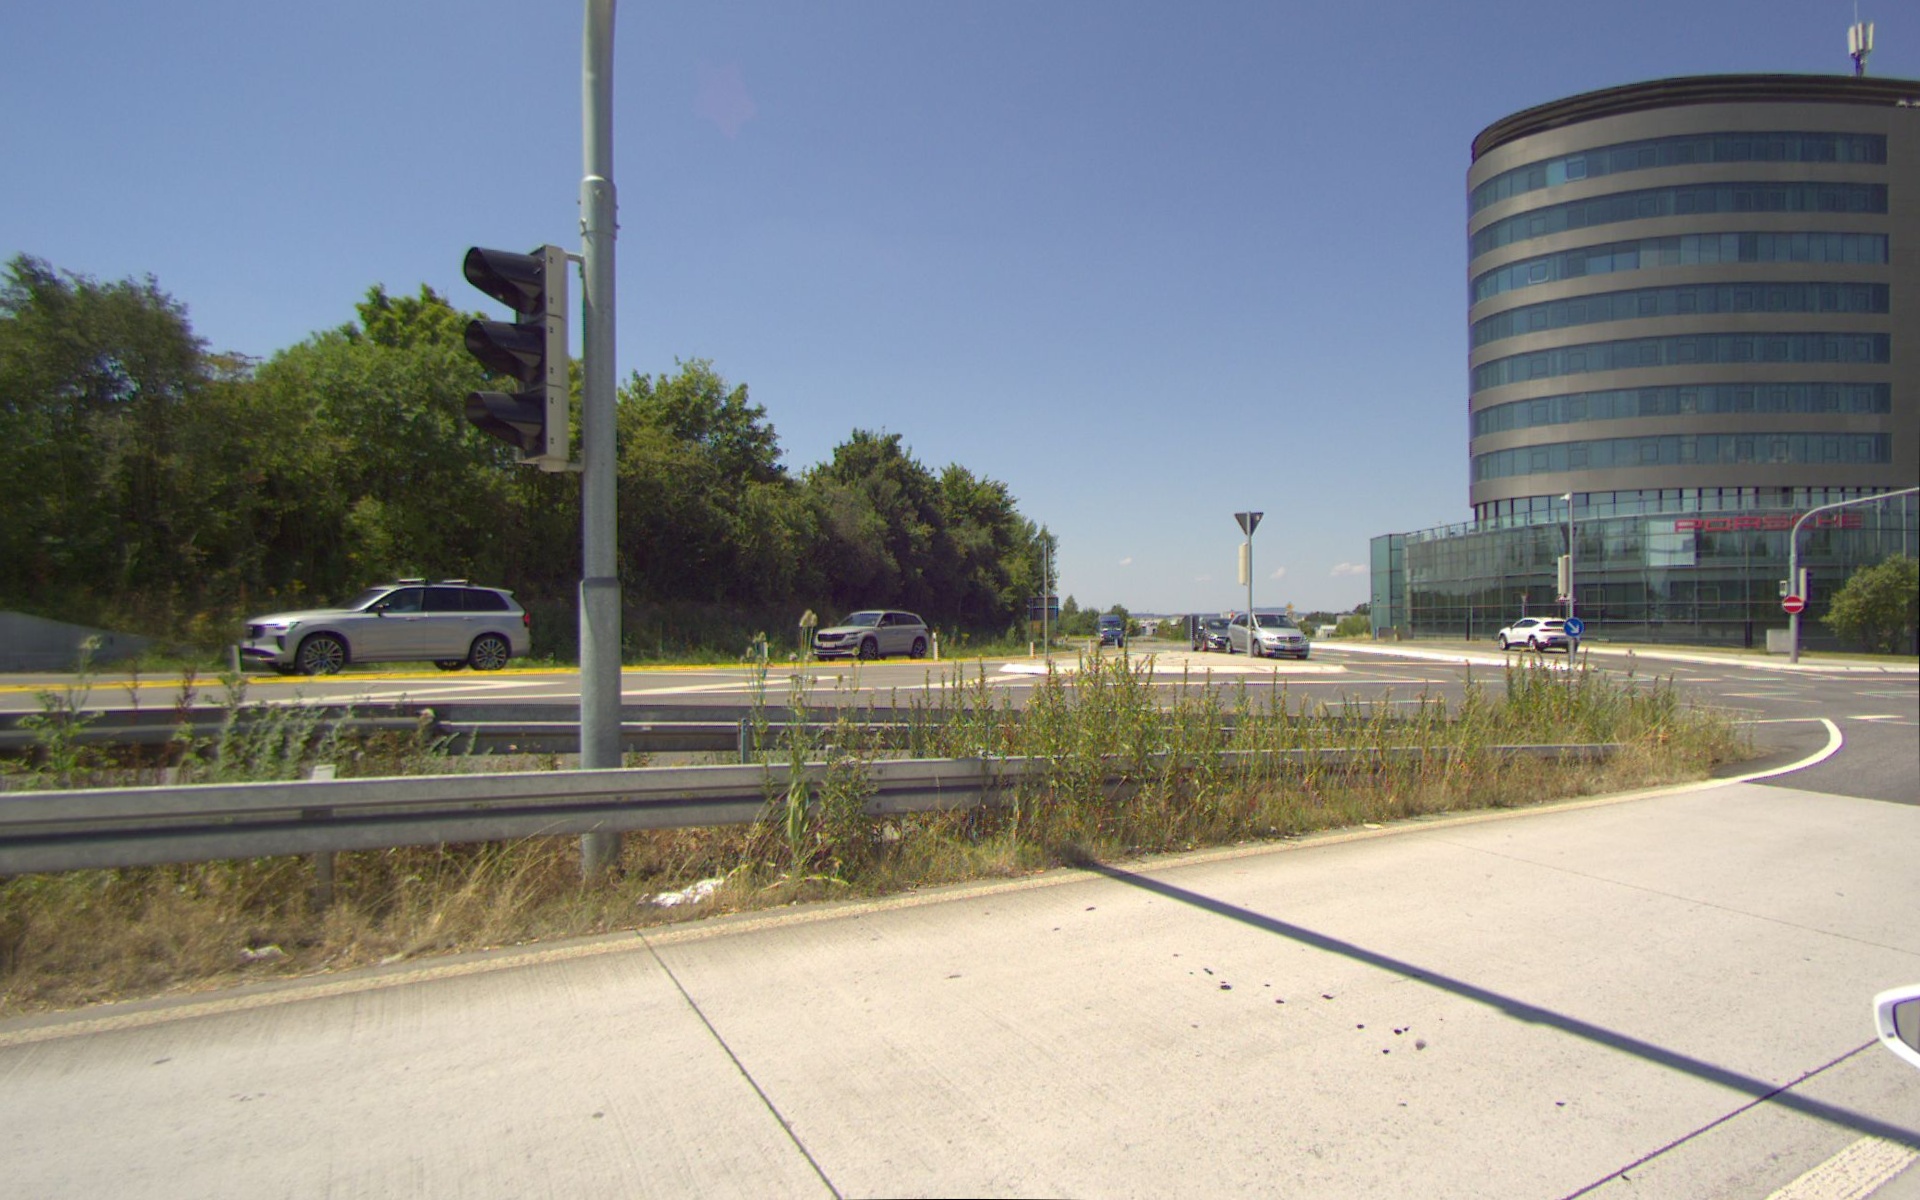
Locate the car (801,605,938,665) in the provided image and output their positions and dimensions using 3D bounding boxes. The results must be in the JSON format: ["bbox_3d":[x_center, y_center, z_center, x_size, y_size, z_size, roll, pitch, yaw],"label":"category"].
[{"bbox_3d":[-2.787,1.075,31.934,1.965,1.715,4.647,1,-1,31],"label":"car"}]

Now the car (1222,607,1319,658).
[{"bbox_3d":[10.787,1.155,35.203,1.743,1.616,4.328,2,-2,-4],"label":"car"}]

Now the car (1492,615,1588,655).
[{"bbox_3d":[25.495,1.509,44.311,1.773,1.577,3.999,2,0,-2],"label":"car"}]

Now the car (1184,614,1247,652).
[{"bbox_3d":[10.898,1.440,43.075,1.663,1.475,4.331,2,-2,2],"label":"car"}]

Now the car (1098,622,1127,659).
[{"bbox_3d":[12.149,3.191,80.521,2.024,2.740,5.900,2,0,7],"label":"car"}]

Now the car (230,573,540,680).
[{"bbox_3d":[-10.980,0.495,19.518,1.969,1.796,4.838,1,-1,38],"label":"car"}]
